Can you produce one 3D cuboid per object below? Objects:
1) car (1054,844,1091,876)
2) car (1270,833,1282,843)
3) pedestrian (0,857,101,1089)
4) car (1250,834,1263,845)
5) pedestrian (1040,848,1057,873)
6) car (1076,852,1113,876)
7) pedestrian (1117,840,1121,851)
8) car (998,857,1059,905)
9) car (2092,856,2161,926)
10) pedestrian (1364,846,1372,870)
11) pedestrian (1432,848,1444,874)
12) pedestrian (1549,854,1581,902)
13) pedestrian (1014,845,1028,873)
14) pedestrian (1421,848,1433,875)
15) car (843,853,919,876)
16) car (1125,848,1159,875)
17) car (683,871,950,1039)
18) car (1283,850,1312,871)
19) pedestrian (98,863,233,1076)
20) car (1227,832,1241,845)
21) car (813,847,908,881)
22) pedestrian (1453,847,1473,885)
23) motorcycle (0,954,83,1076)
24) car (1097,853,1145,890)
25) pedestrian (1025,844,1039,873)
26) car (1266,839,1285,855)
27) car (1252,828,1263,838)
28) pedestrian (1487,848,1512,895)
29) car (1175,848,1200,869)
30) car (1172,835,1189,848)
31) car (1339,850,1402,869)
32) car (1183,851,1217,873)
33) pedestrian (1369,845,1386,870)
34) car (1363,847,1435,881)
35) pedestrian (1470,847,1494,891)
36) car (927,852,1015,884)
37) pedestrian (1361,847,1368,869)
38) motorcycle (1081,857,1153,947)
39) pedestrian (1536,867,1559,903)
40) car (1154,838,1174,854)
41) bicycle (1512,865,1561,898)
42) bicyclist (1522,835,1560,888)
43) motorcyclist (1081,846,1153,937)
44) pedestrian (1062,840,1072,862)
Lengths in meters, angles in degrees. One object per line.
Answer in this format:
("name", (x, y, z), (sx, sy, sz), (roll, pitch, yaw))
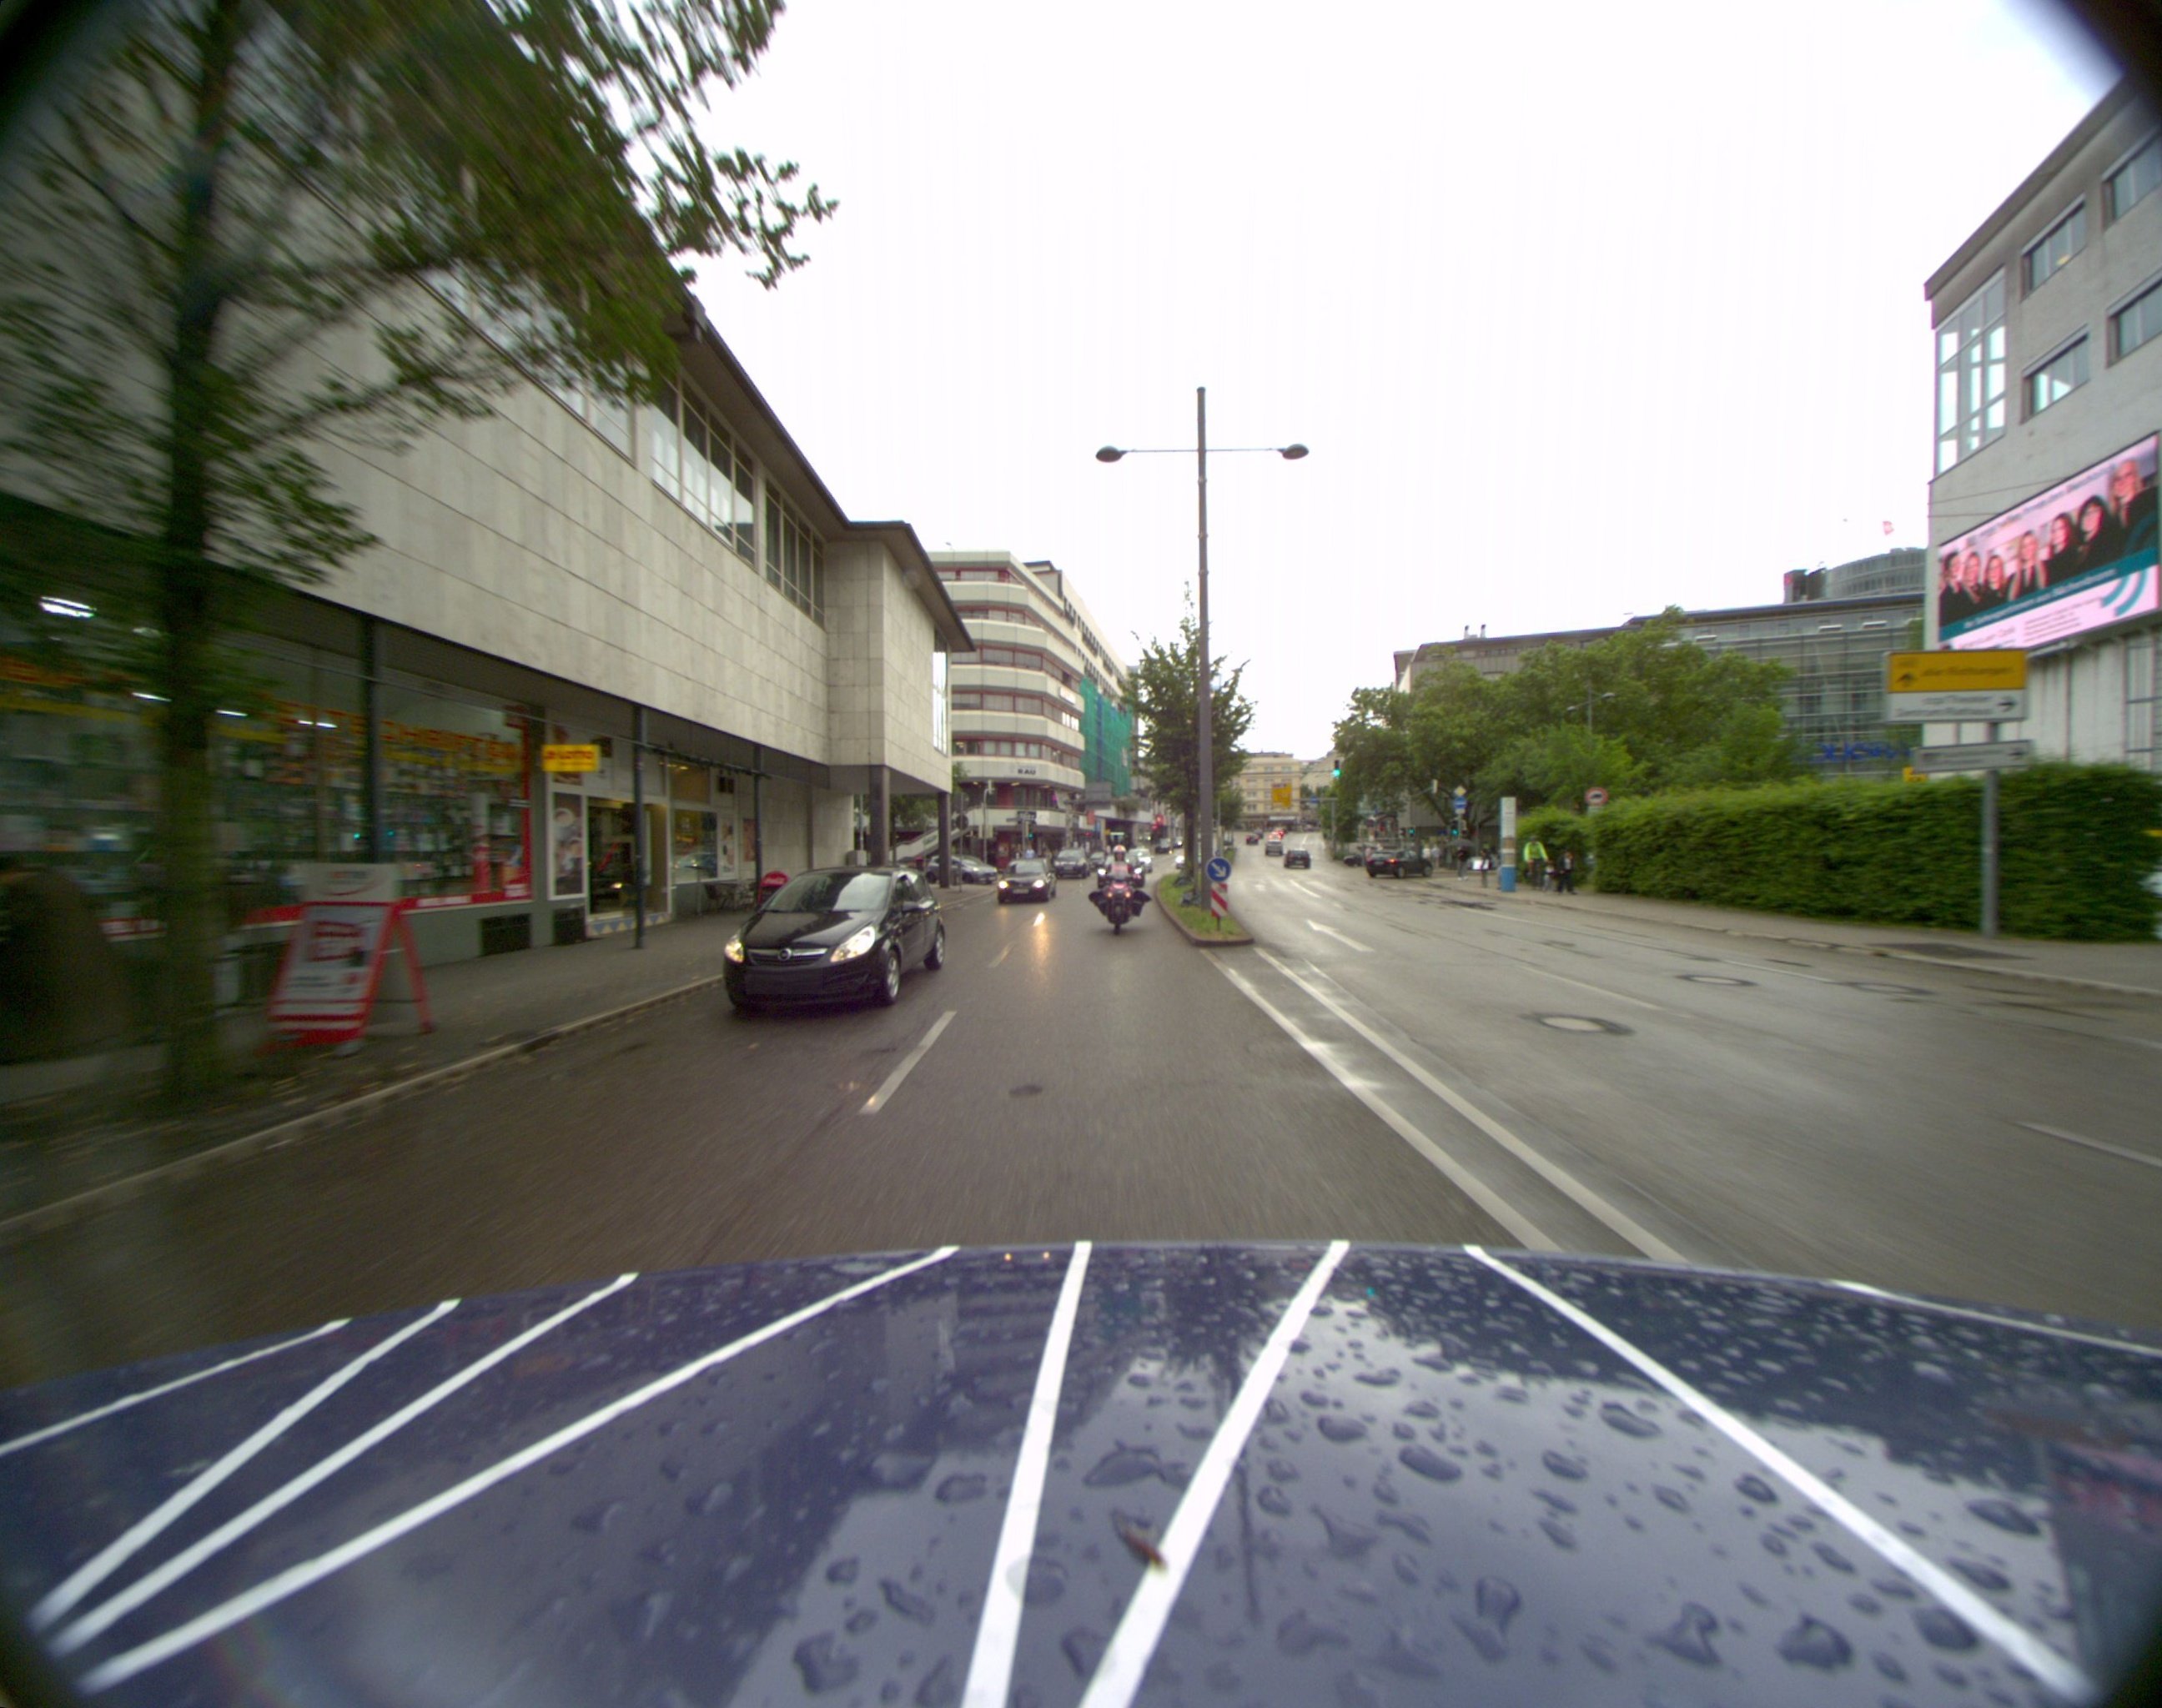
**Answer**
("car", (-0.414, 0.307, 42.737), (1.735, 1.669, 4.249), (-2, 1, 4))
("car", (29.682, -2.434, 115.692), (1.674, 1.507, 3.646), (1, 2, 13))
("pedestrian", (-7.354, 0.804, 5.338), (0.511, 1.557, 0.429), (0, 1, -44))
("car", (25.108, -2.078, 108.931), (1.625, 1.547, 3.662), (0, 1, 11))
("pedestrian", (-2.353, 0.475, 55.541), (0.897, 1.770, 0.806), (5, 5, 16))
("car", (1.007, 0.679, 54.560), (1.680, 1.422, 3.779), (-1, 3, 17))
("pedestrian", (4.996, -1.095, 98.893), (0.429, 1.481, 0.523), (-1, 4, -11))
("car", (-1.704, 0.858, 25.693), (1.595, 1.432, 3.628), (-1, 0, 3))
("car", (26.954, 0.842, 17.844), (3.592, 1.566, 1.602), (-1, 1, 19))
("pedestrian", (22.101, 0.326, 58.550), (0.447, 1.827, 0.676), (0, 4, 8))
("pedestrian", (23.690, 0.468, 50.442), (0.527, 1.754, 0.593), (1, 1, 11))
("pedestrian", (16.034, 0.790, 25.173), (0.716, 1.550, 0.565), (0, 1, 4))
("pedestrian", (-3.929, 0.306, 49.489), (0.623, 1.764, 0.678), (0, 3, 19))
("pedestrian", (22.898, 0.498, 50.222), (0.527, 1.754, 0.593), (-3, 2, 11))
("car", (-12.543, 0.645, 47.799), (4.270, 1.412, 1.787), (0, 1, 0))
("car", (4.094, 0.483, 50.507), (1.630, 1.731, 3.604), (1, 0, 14))
("car", (-2.798, 0.990, 8.975), (1.712, 1.448, 3.742), (-1, 1, 2))
("car", (16.357, 0.466, 57.505), (1.760, 1.412, 4.099), (2, 2, 12))
("pedestrian", (-7.027, 0.854, 5.854), (0.430, 1.557, 0.509), (0, 1, -8))
("car", (21.722, -2.202, 107.877), (1.830, 1.727, 4.002), (1, 4, 14))
("car", (-12.027, 0.534, 41.615), (4.604, 1.750, 1.856), (0, 2, 4))
("pedestrian", (17.994, 0.559, 35.800), (0.648, 1.755, 0.592), (0, 4, 8))
("motorcycle", (-7.746, 1.156, 5.306), (0.325, 0.799, 0.920), (1, 0, 0))
("car", (1.865, 0.737, 33.857), (1.937, 1.511, 4.470), (-1, 0, 5))
("pedestrian", (-3.176, 0.272, 49.386), (0.623, 1.837, 0.848), (0, 3, 19))
("car", (21.563, -0.769, 84.178), (1.830, 1.726, 4.313), (0, 2, 12))
("car", (29.614, -3.518, 127.325), (1.716, 1.470, 3.960), (2, 2, 12))
("pedestrian", (15.790, 0.637, 28.675), (0.592, 1.754, 0.643), (0, 1, -2))
("car", (8.325, 0.344, 59.166), (1.768, 1.401, 4.002), (-1, 2, 10))
("car", (13.933, -1.762, 106.022), (1.830, 1.727, 4.002), (1, 4, 14))
("car", (23.690, 0.429, 62.343), (1.937, 1.388, 4.412), (-1, 3, -45))
("car", (8.345, 0.540, 53.529), (1.700, 1.466, 3.689), (0, 1, -2))
("pedestrian", (22.232, 0.249, 56.906), (0.861, 1.895, 0.826), (-1, 1, -11))
("car", (17.187, 0.530, 40.931), (4.268, 1.726, 1.828), (1, 2, -41))
("pedestrian", (15.934, 0.585, 30.195), (0.630, 1.754, 0.528), (0, 1, 0))
("car", (-5.568, 0.686, 38.333), (3.989, 1.468, 2.003), (-1, 2, 32))
("pedestrian", (22.245, 0.300, 59.527), (0.412, 1.753, 0.677), (0, 0, 11))
("motorcycle", (0.777, 0.874, 15.092), (0.831, 1.479, 2.867), (-3, 2, 13))
("pedestrian", (15.435, 1.019, 25.164), (0.469, 1.144, 0.502), (0, 1, 4))
("car", (10.353, -1.030, 94.526), (1.830, 1.727, 4.002), (1, 4, 14))
("bicycle", (16.584, 0.992, 27.718), (0.652, 1.104, 2.058), (0, 1, 4))
("bicyclist", (16.648, 0.276, 27.528), (0.793, 1.879, 0.954), (0, 1, 3))
("motorcyclist", (0.735, 0.727, 15.232), (1.294, 1.757, 0.846), (0, 1, 13))
("pedestrian", (-1.221, -0.277, 65.968), (0.733, 1.885, 0.677), (0, 3, 12))
